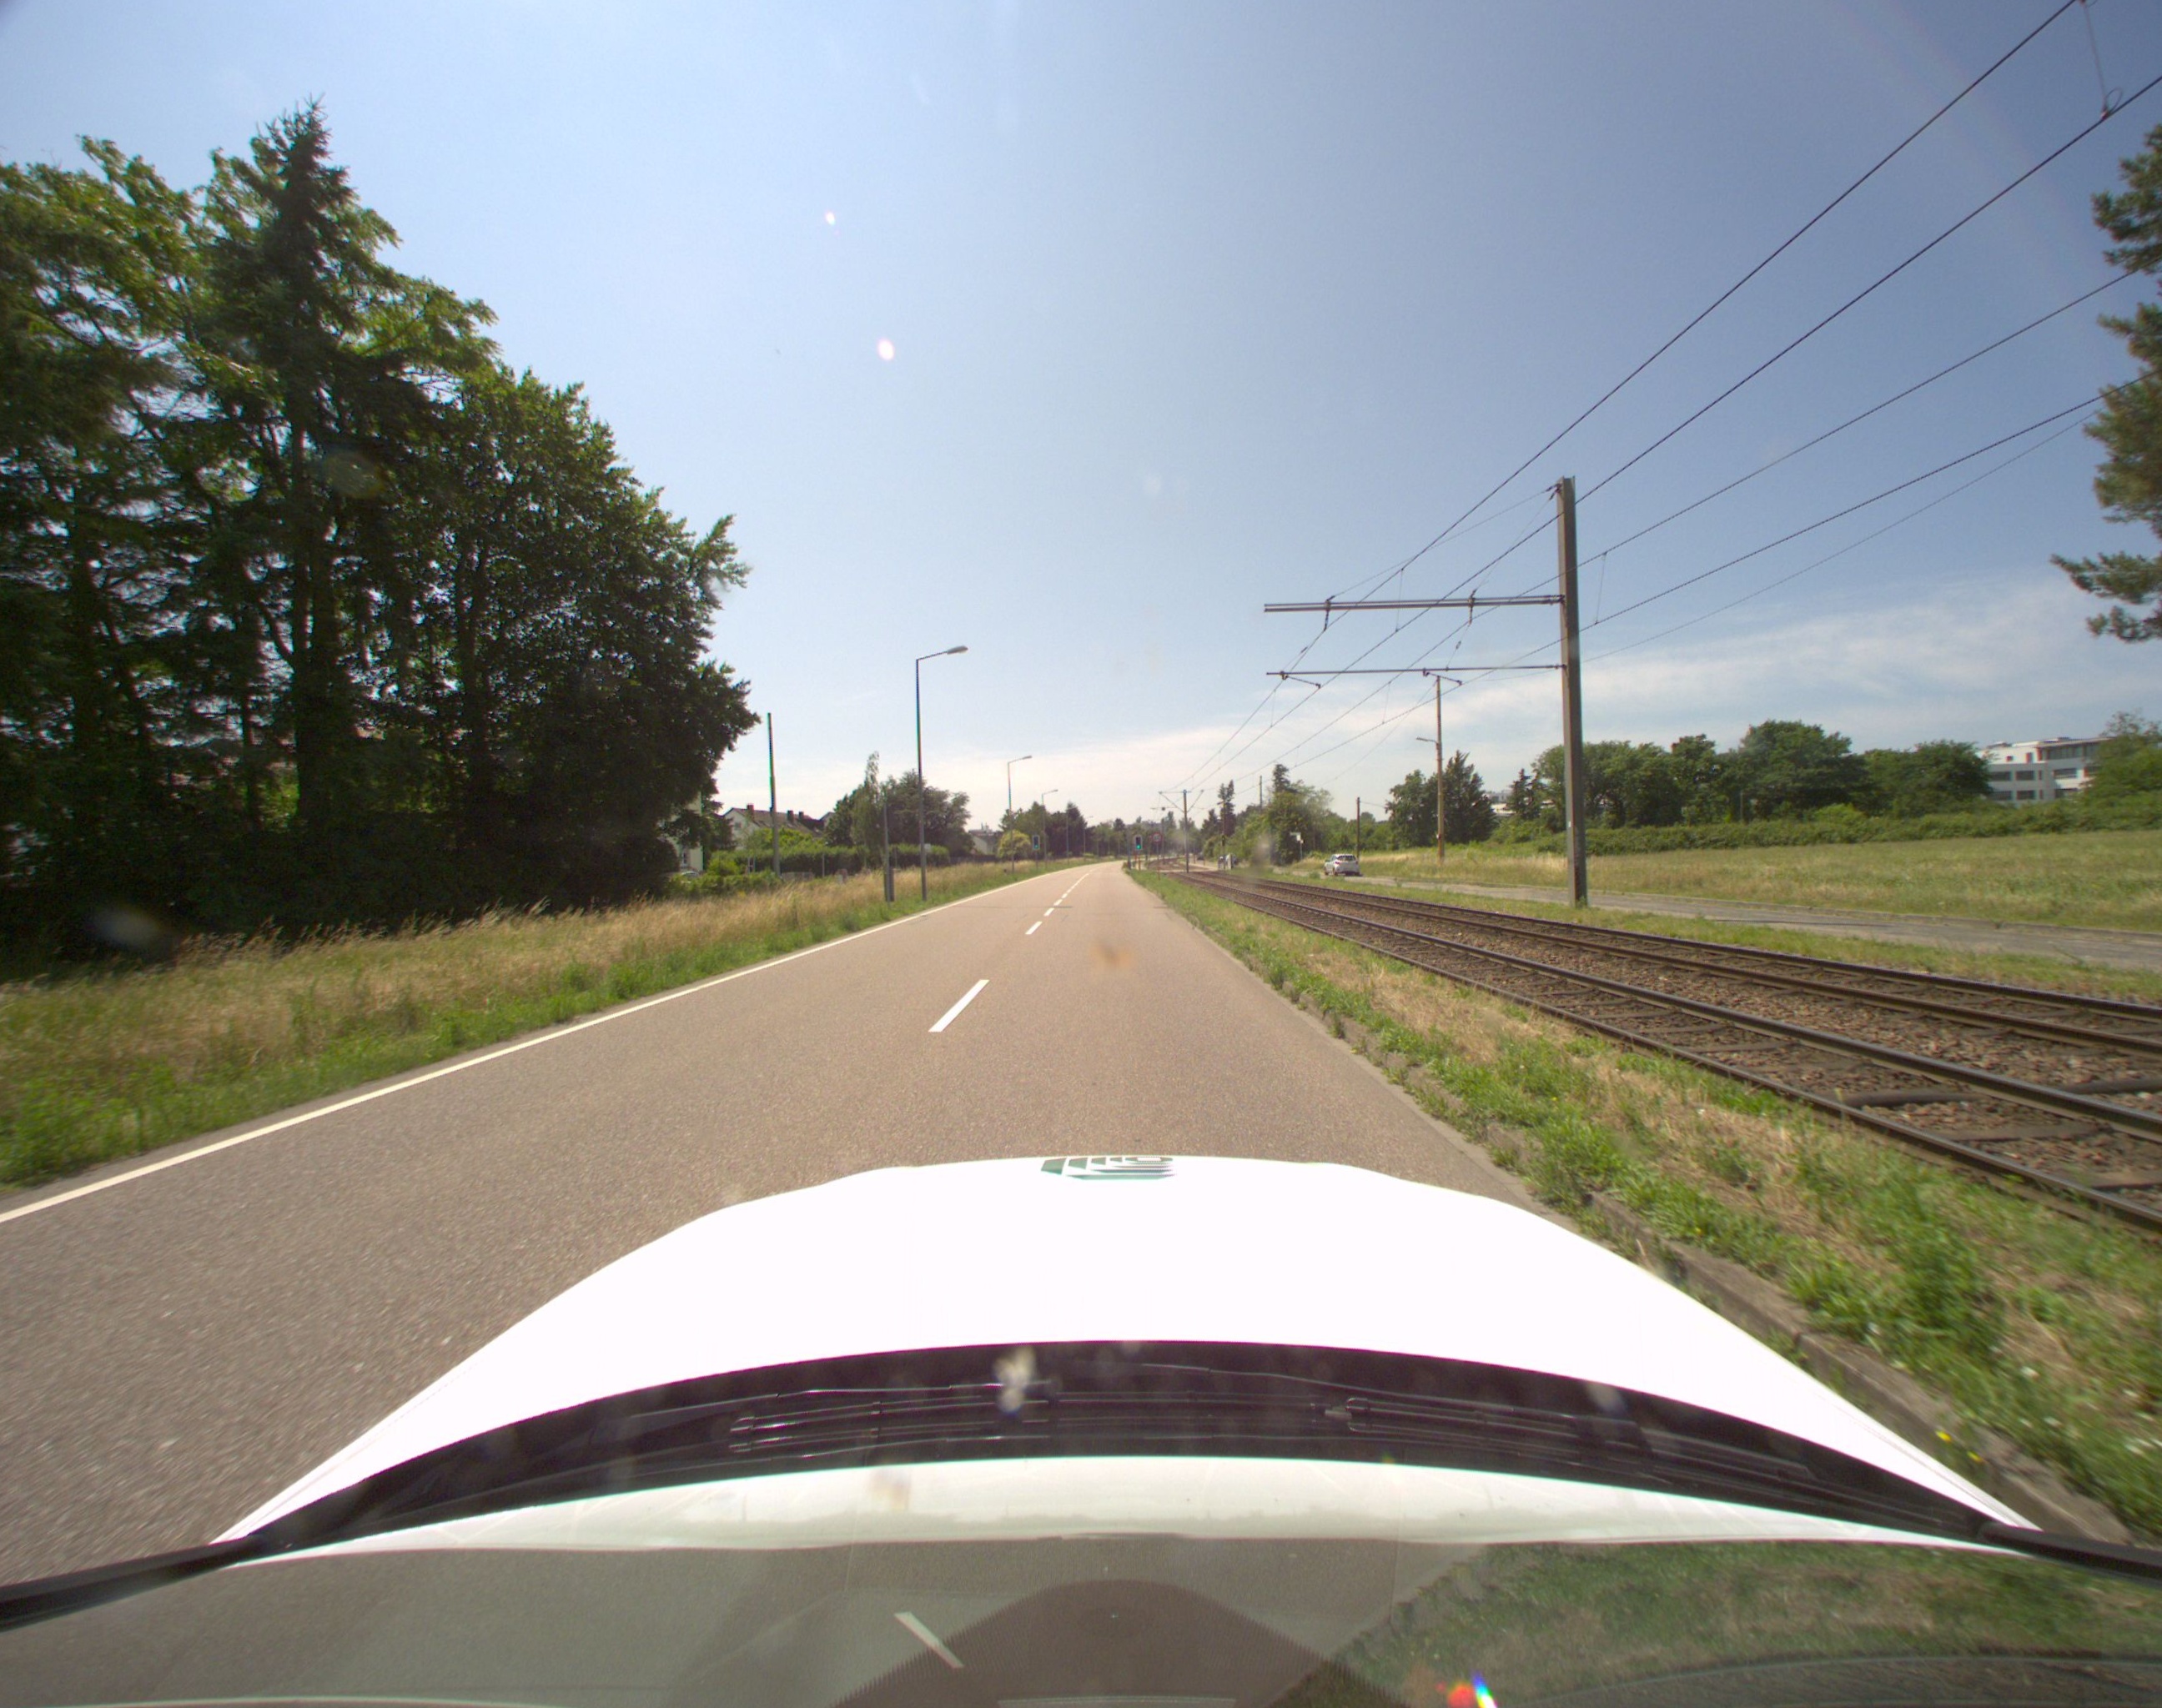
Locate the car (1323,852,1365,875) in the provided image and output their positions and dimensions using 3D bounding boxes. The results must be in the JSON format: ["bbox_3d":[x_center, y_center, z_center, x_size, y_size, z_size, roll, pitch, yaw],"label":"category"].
[{"bbox_3d":[17.948,0.617,55.773,1.706,1.488,4.004,-1,0,3],"label":"car"}]

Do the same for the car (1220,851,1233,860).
[{"bbox_3d":[23.247,0.240,130.566,1.612,1.422,4.879,-1,0,5],"label":"car"}]

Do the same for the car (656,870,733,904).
[{"bbox_3d":[-18.888,1.582,39.973,1.700,1.491,4.187,-1,0,1],"label":"car"}]

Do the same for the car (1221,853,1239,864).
[{"bbox_3d":[20.368,0.644,111.502,1.930,1.422,4.004,-1,0,4],"label":"car"}]

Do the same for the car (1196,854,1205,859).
[{"bbox_3d":[29.383,0.610,200.080,1.851,1.330,4.522,-1,0,6],"label":"car"}]
